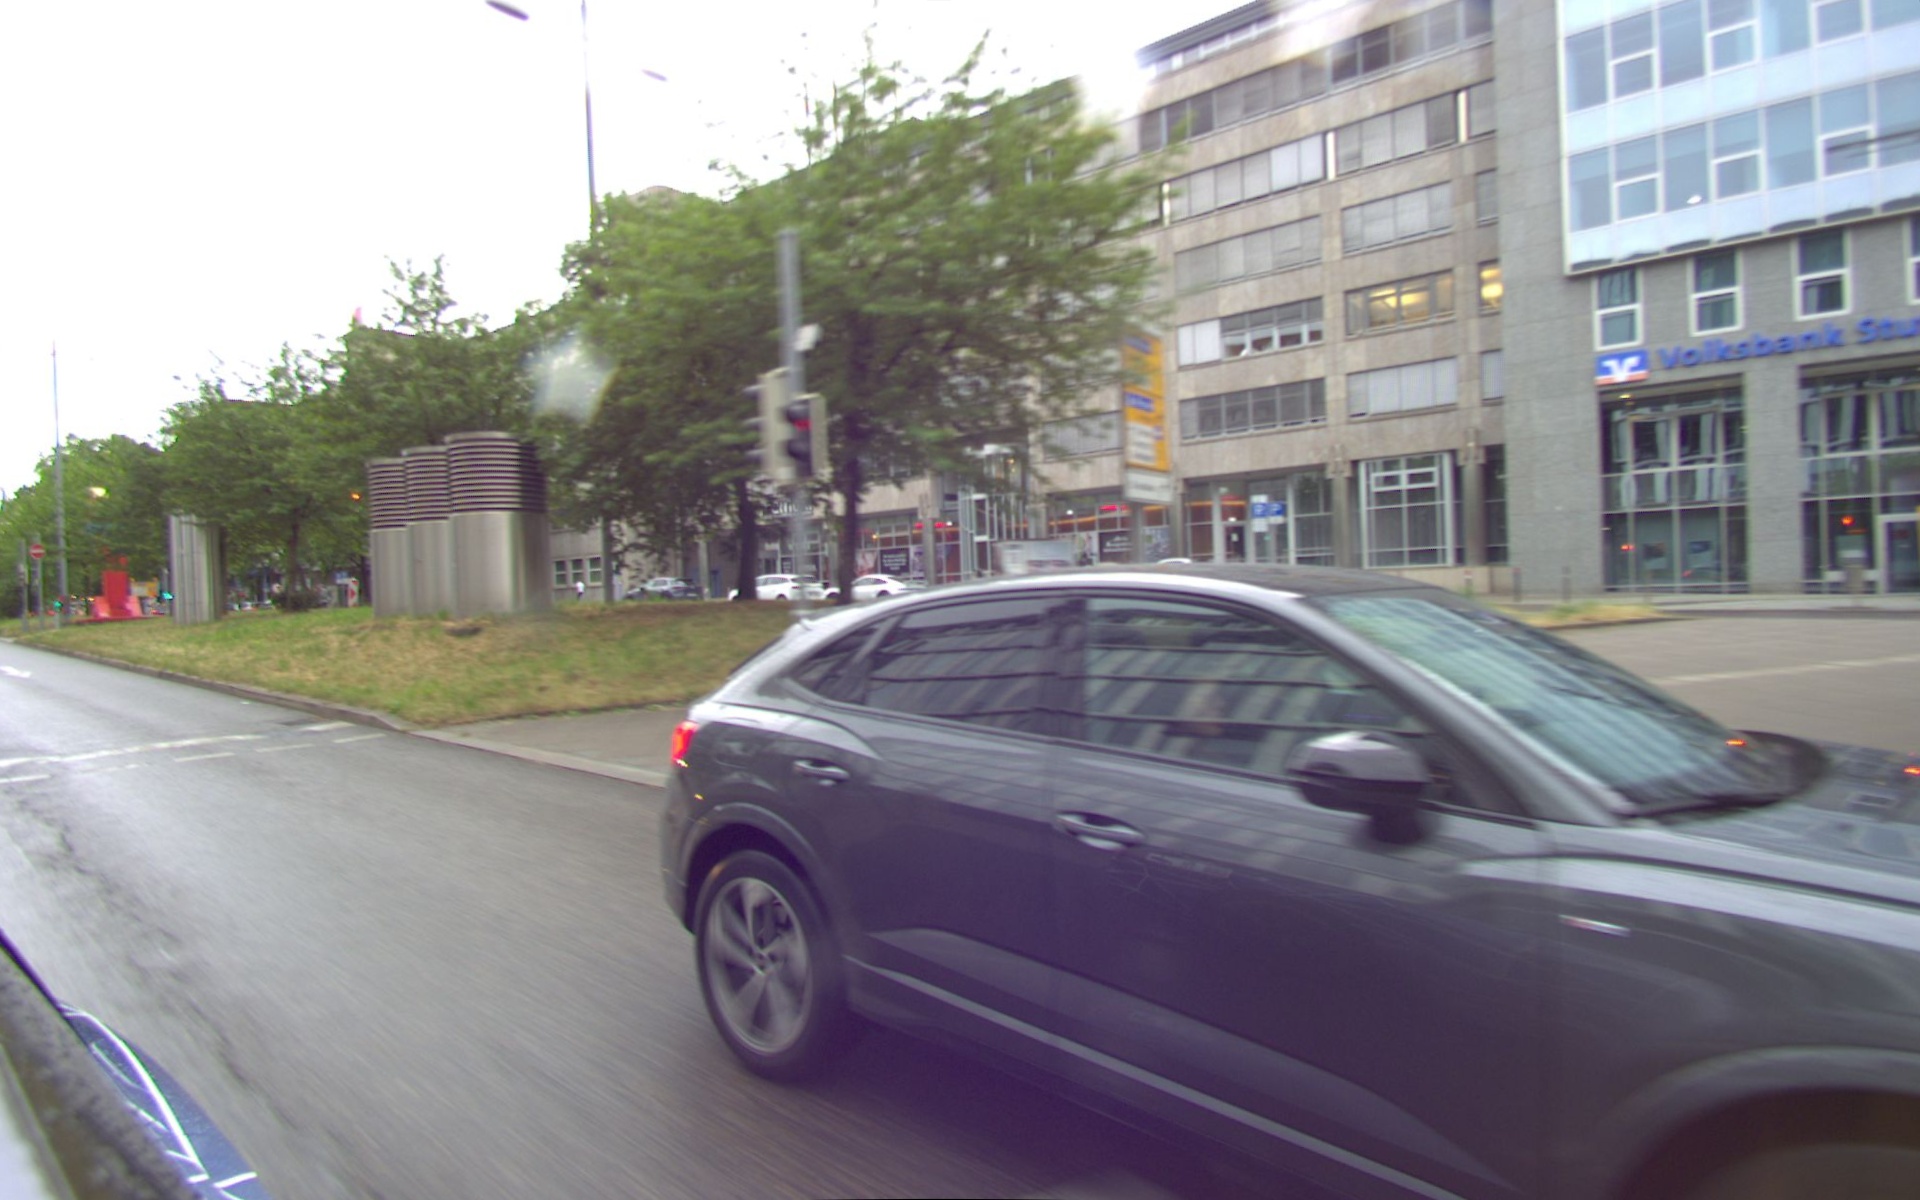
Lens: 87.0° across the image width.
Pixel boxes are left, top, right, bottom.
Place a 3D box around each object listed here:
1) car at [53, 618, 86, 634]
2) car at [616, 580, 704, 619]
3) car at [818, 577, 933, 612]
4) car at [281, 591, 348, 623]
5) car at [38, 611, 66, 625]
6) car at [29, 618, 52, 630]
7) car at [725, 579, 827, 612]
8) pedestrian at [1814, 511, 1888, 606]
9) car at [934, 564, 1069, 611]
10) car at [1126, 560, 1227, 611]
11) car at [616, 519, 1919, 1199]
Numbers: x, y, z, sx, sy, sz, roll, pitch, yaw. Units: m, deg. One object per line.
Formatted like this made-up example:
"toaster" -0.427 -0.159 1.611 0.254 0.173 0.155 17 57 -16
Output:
"car" -97.631 2.855 110.947 4.105 1.599 2.046 -1 3 41
"car" -13.397 -0.024 45.144 4.100 1.592 1.557 -1 3 37
"car" -3.092 -0.186 36.610 4.100 1.130 1.557 -1 3 37
"car" -34.657 0.381 54.328 4.105 1.592 1.856 -1 3 41
"car" -111.798 2.238 124.591 4.105 1.599 2.046 -1 3 41
"car" -124.624 3.278 137.150 4.498 1.521 1.776 -1 1 41
"car" -7.331 -0.171 40.134 4.100 1.130 1.557 -1 3 37
"pedestrian" 18.348 -0.828 20.870 0.928 1.895 0.950 -1 0 28
"car" 1.348 -0.397 33.903 4.312 1.395 1.660 -1 3 37
"car" 6.404 -0.429 30.037 2.625 1.395 1.227 -1 3 40
"car" 1.050 0.645 2.735 4.344 1.529 1.841 -1 1 42
